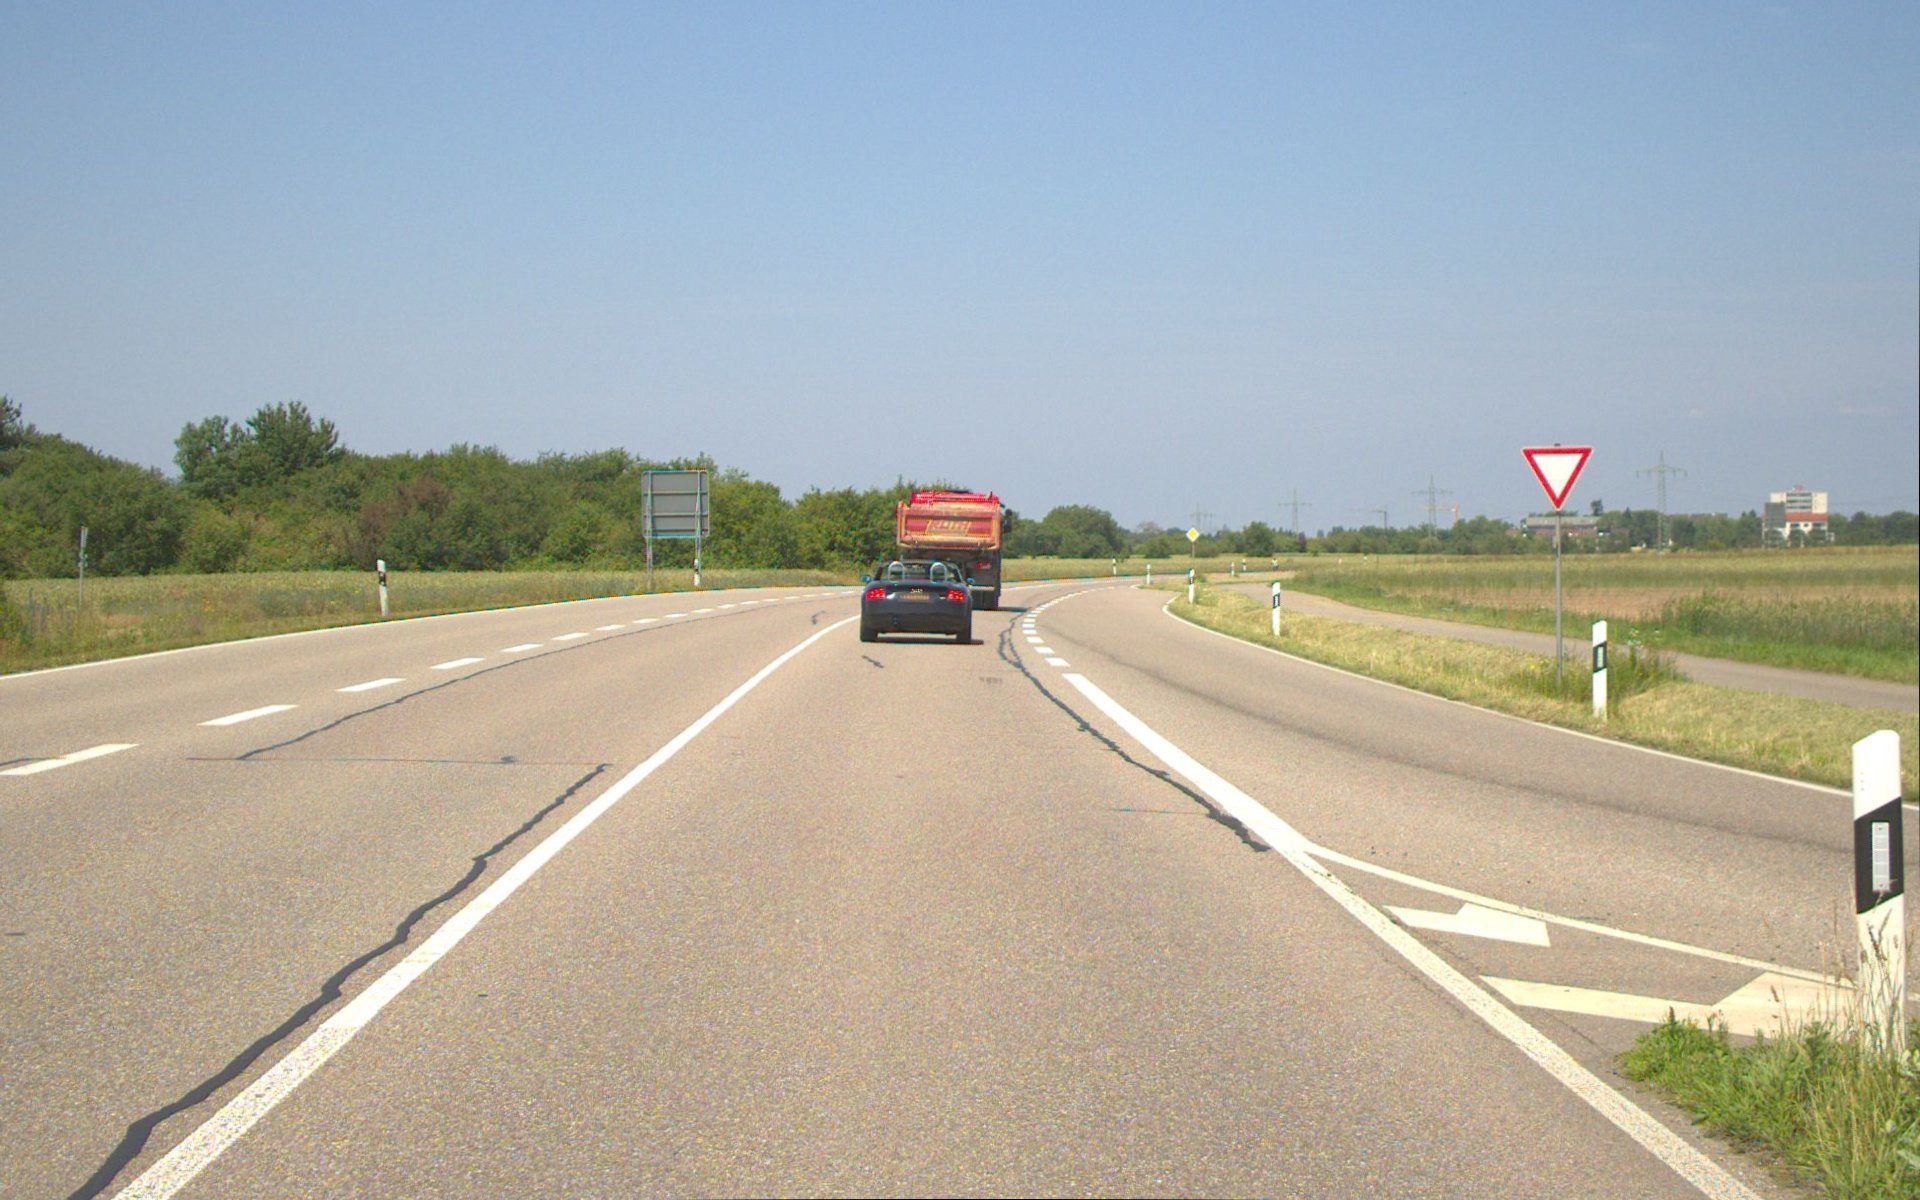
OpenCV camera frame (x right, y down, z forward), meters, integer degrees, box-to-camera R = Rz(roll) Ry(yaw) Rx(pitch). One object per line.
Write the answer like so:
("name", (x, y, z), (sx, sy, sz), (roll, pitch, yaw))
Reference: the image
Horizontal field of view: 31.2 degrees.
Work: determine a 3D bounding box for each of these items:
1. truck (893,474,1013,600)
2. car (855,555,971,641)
("truck", (-0.212, -1.593, 88.586), (2.938, 3.078, 7.196), (1, 1, -1))
("car", (-0.718, -0.055, 54.692), (1.744, 1.275, 4.000), (1, 1, 0))
